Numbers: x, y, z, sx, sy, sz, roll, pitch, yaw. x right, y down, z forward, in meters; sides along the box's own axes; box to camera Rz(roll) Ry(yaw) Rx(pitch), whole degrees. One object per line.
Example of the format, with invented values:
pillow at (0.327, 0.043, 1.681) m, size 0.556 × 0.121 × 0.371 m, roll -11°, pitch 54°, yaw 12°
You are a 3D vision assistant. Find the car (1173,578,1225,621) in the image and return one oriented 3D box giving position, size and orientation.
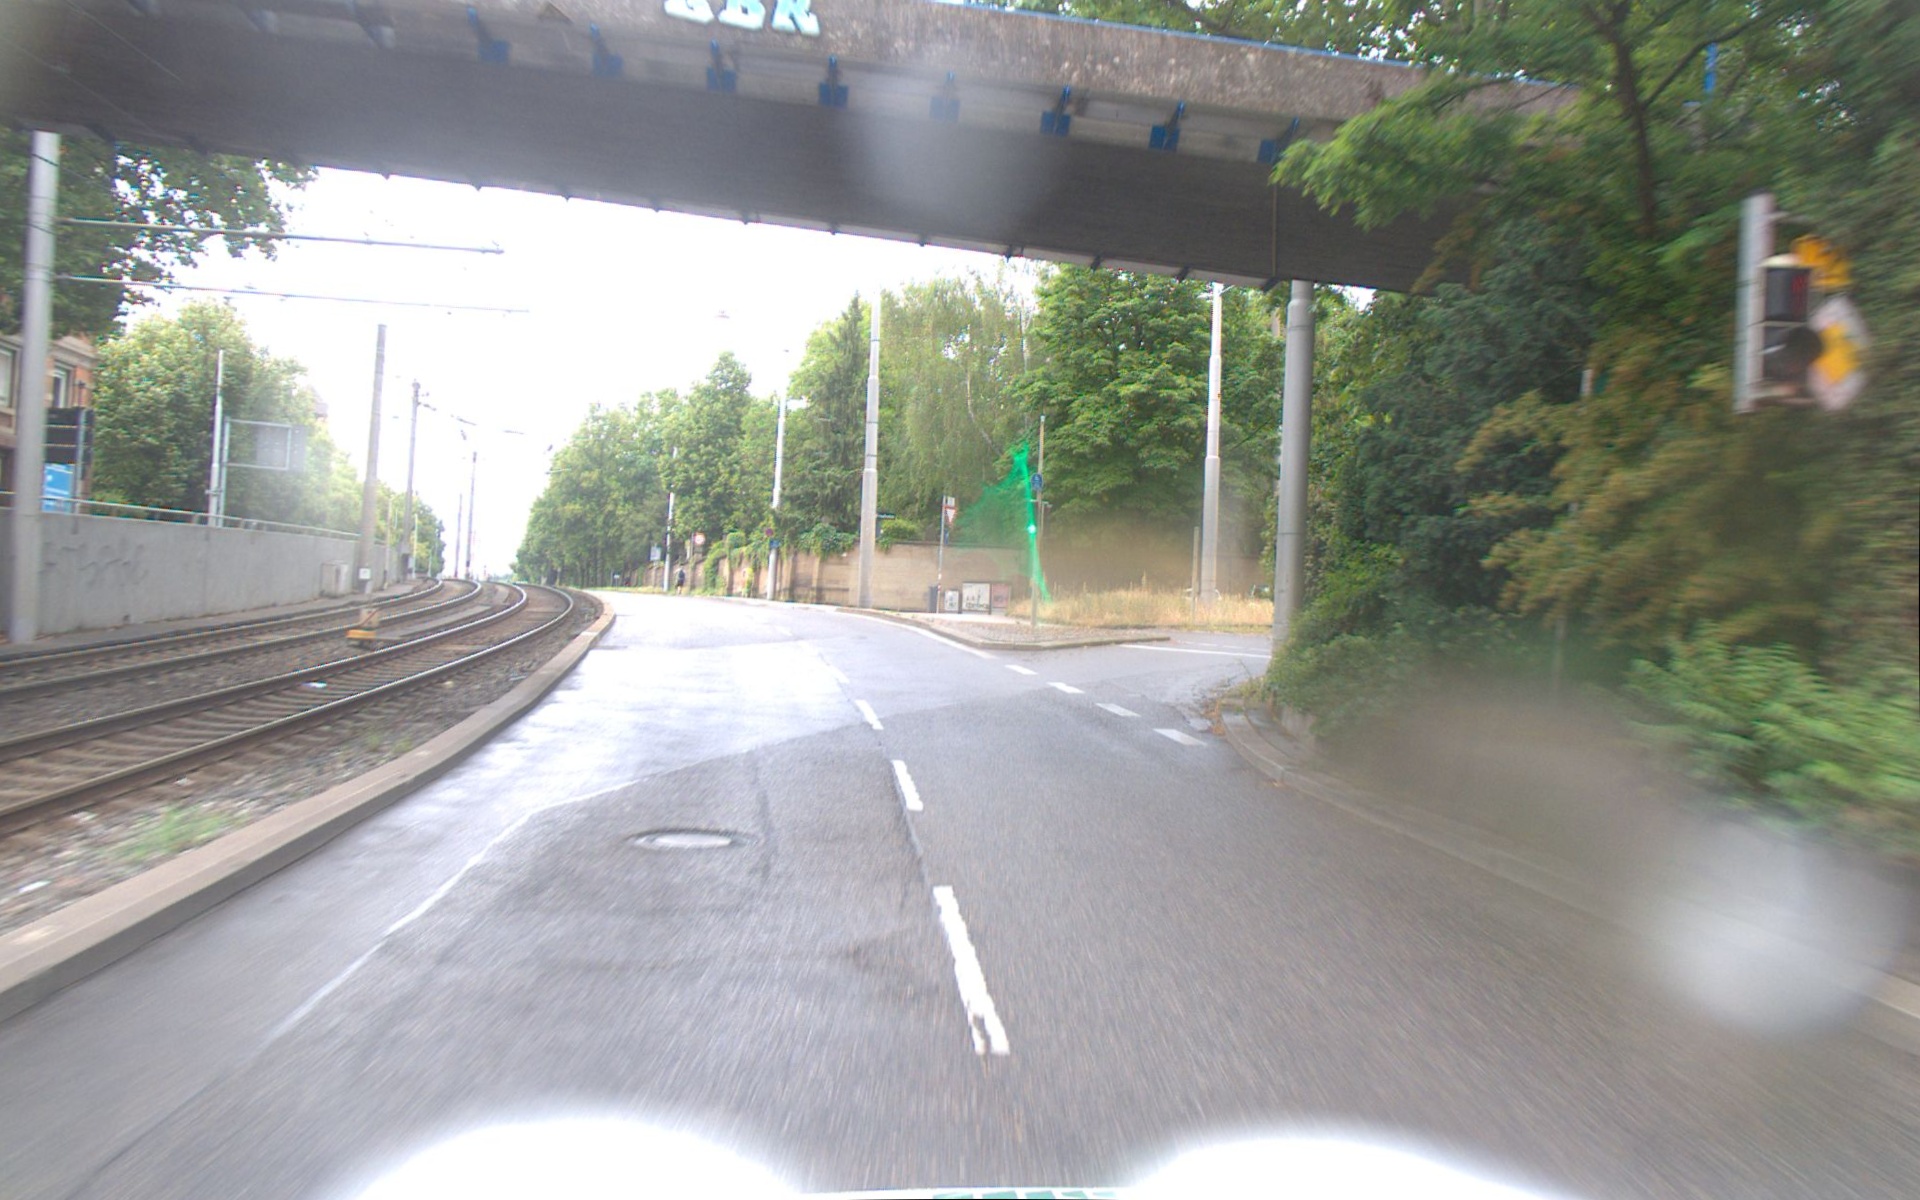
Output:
car at (8.555, -0.016, 59.337) m, size 1.716 × 1.431 × 4.003 m, roll 2°, pitch 0°, yaw 8°

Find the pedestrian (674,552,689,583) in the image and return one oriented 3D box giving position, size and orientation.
pedestrian at (-17.327, -2.044, 102.950) m, size 0.708 × 1.882 × 0.779 m, roll 4°, pitch -1°, yaw -17°

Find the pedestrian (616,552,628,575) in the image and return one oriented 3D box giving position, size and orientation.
pedestrian at (-26.078, -2.815, 127.501) m, size 0.708 × 1.716 × 0.726 m, roll 4°, pitch -1°, yaw -17°
